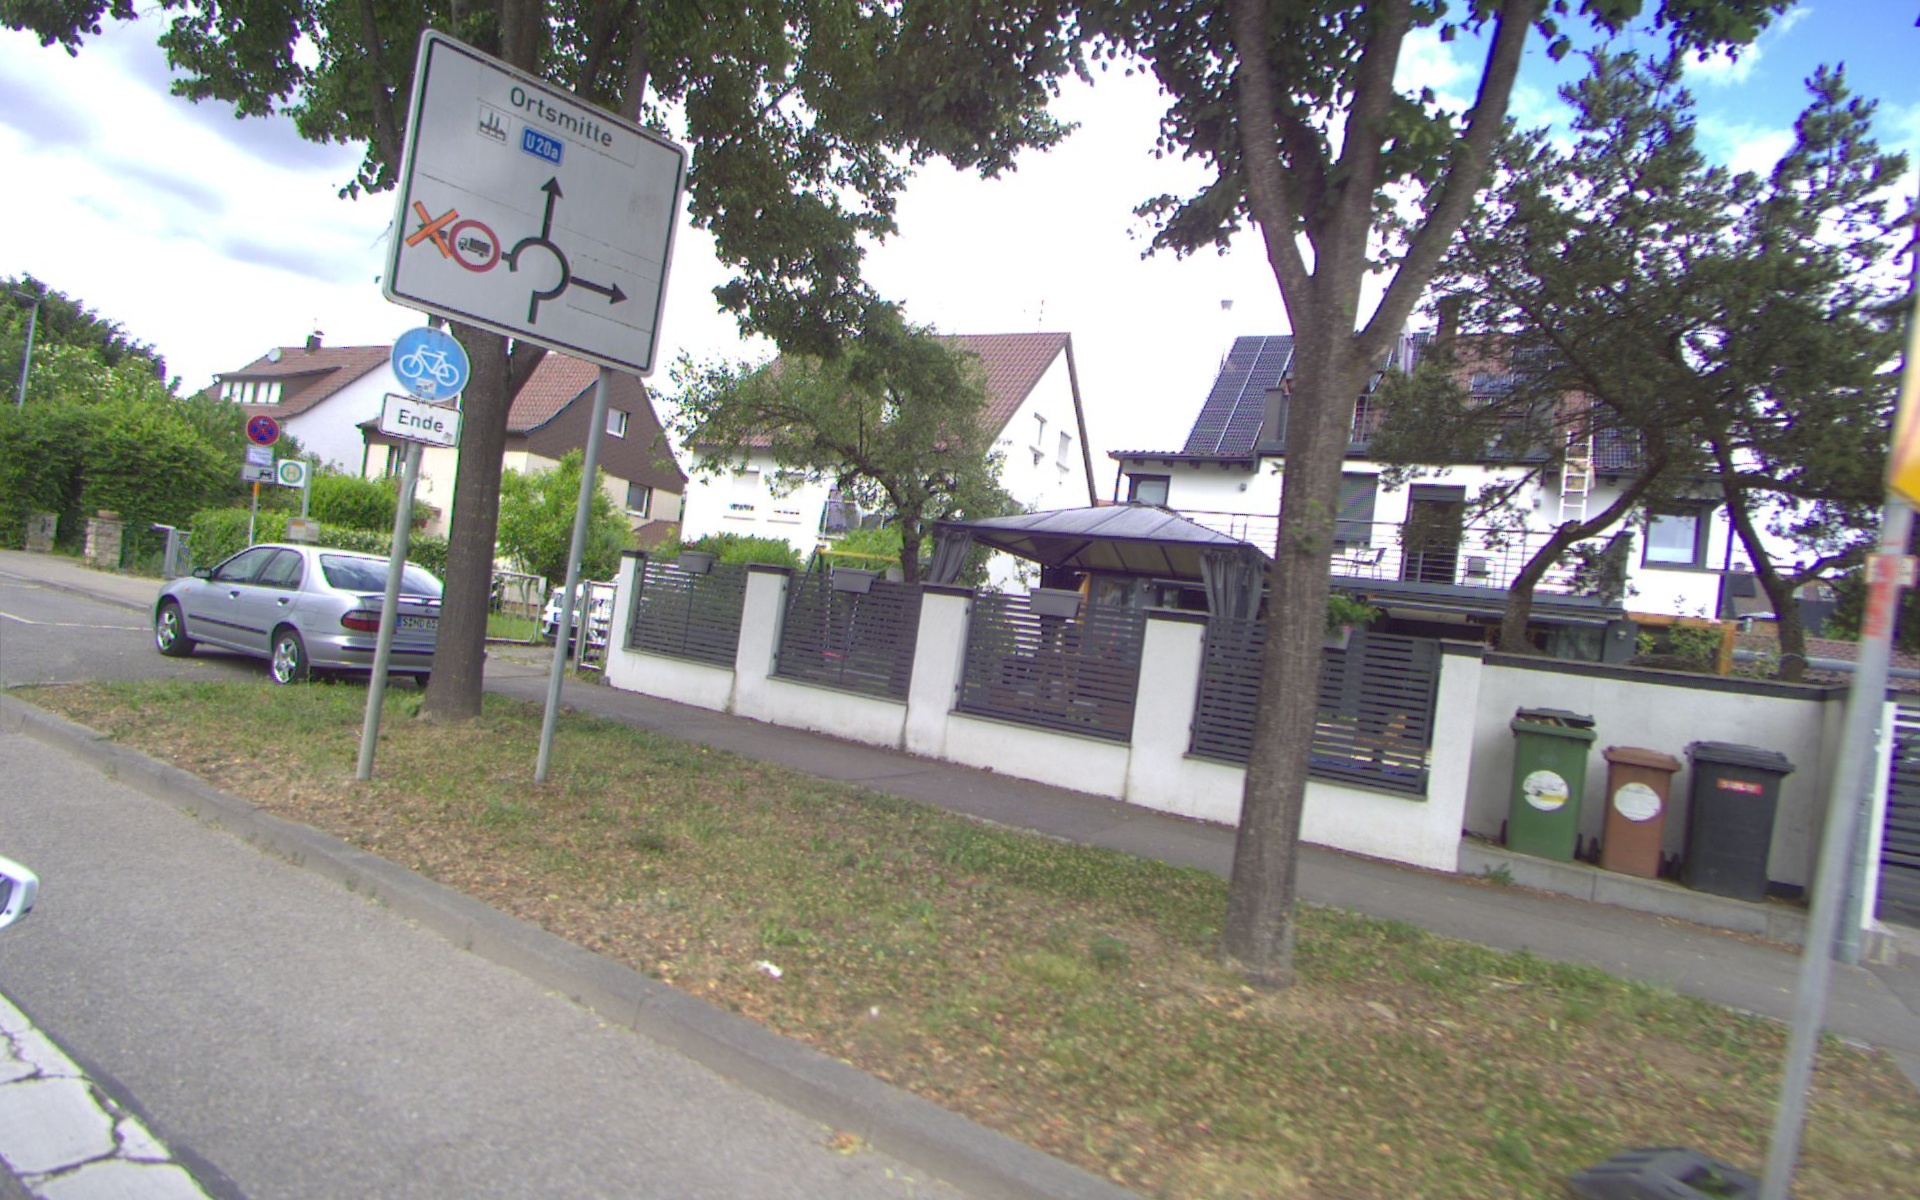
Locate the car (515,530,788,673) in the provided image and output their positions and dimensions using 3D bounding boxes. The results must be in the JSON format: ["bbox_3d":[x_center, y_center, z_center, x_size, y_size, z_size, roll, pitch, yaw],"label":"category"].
[{"bbox_3d":[-5.022,0.108,16.953,1.966,1.844,3.997,7,-2,29],"label":"car"}]

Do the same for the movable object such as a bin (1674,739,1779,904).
[{"bbox_3d":[5.394,1.535,7.101,0.447,1.034,0.437,7,0,33],"label":"movable object such as a bin"}]

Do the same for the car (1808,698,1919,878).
[{"bbox_3d":[11.467,2.154,10.844,2.012,1.925,5.202,6,-2,24],"label":"car"}]

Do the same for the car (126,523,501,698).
[{"bbox_3d":[-7.076,0.078,10.886,4.315,1.393,1.615,5,-2,32],"label":"car"}]

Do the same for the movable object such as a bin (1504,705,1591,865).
[{"bbox_3d":[4.540,1.404,7.770,0.447,1.123,0.437,7,0,33],"label":"movable object such as a bin"}]

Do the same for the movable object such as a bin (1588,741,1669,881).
[{"bbox_3d":[4.972,1.549,7.497,0.389,0.931,0.437,7,0,32],"label":"movable object such as a bin"}]
